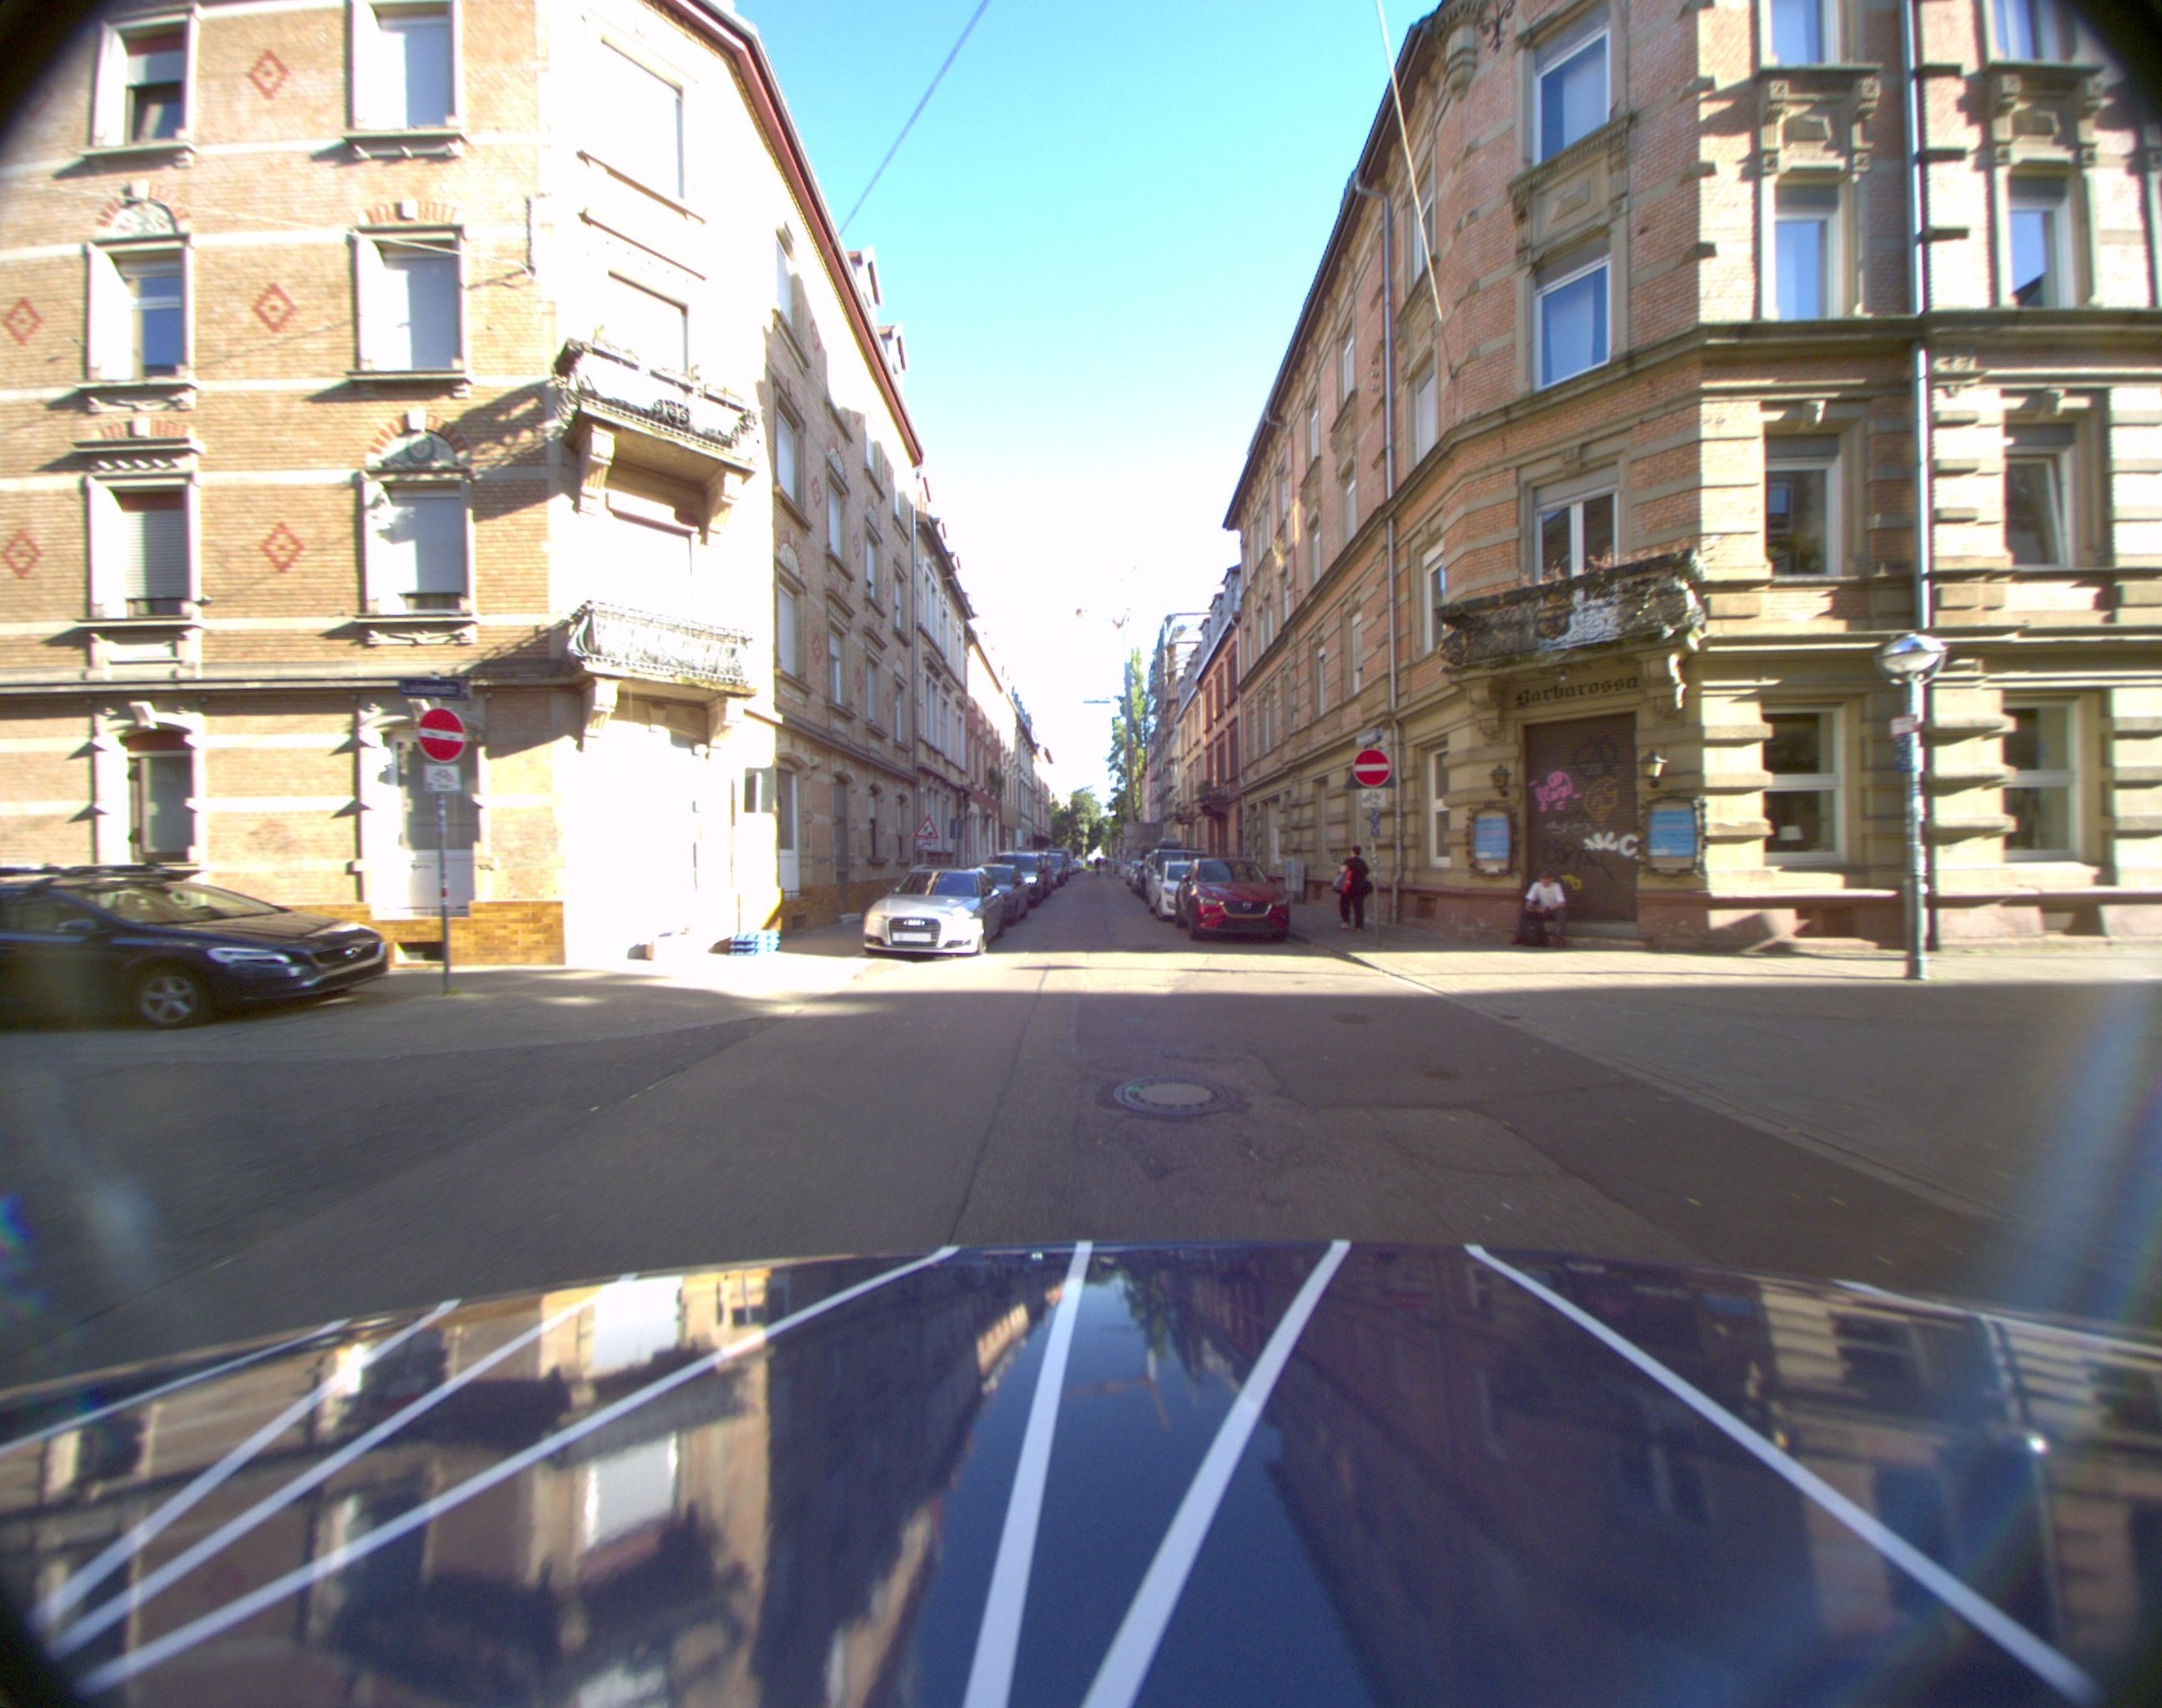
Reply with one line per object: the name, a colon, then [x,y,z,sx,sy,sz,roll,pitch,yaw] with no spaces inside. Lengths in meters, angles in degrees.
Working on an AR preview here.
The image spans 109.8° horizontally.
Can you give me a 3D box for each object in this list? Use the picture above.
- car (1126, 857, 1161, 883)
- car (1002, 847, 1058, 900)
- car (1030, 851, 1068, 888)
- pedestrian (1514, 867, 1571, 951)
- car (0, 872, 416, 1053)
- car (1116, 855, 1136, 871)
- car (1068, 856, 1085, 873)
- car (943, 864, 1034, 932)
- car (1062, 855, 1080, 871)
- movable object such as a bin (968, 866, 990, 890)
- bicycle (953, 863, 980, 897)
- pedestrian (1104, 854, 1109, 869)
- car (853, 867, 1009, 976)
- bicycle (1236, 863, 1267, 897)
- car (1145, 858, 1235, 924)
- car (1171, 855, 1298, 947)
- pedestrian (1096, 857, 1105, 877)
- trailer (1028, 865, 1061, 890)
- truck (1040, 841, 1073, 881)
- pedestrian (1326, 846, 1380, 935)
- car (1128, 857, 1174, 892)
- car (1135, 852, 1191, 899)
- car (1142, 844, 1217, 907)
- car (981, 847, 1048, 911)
car: [3.561,0.887,43.663,1.678,1.410,4.000,0,0,0]
car: [-2.092,0.772,32.348,1.836,2.002,4.742,-3,0,1]
car: [-1.823,0.858,44.725,1.849,1.972,4.576,-4,0,1]
pedestrian: [6.885,0.810,11.343,0.667,1.170,0.749,-2,1,31]
car: [-9.826,1.030,7.764,4.253,1.463,1.767,-1,4,-5]
car: [4.538,0.890,76.968,1.771,1.500,4.696,-1,0,1]
car: [-0.416,1.031,76.569,1.525,1.525,3.463,4,0,1]
car: [-2.233,1.033,19.223,1.670,1.470,3.888,-2,0,2]
car: [-1.064,0.945,82.750,1.603,1.652,4.060,-4,0,1]
movable object such as a bin: [-4.668,1.086,34.683,0.898,1.055,0.722,1,0,-1]
bicycle: [-4.629,1.041,30.821,0.728,1.296,1.692,1,0,2]
pedestrian: [2.965,0.842,87.274,0.594,1.634,0.813,0,0,1]
car: [-2.456,1.050,13.615,1.710,1.450,4.511,-3,0,1]
bicycle: [6.024,0.892,26.920,0.668,1.118,1.785,-4,0,2]
car: [2.688,0.867,19.486,1.678,1.412,3.874,-3,0,0]
car: [2.862,0.798,15.028,1.727,1.472,4.090,-3,0,1]
pedestrian: [1.754,1.167,68.280,0.740,1.743,0.997,-2,0,2]
trailer: [-1.878,1.228,40.032,1.508,1.106,3.039,-5,0,0]
truck: [-1.746,0.470,55.090,2.154,2.642,6.252,2,0,-1]
pedestrian: [5.058,0.662,14.157,0.668,1.571,0.760,-3,1,0]
car: [3.136,0.898,34.806,1.703,1.306,4.000,-5,0,1]
car: [3.126,0.781,29.790,1.792,1.615,4.608,-3,0,2]
car: [3.113,0.648,24.871,1.897,1.774,4.608,-3,0,2]
car: [-2.227,0.806,26.632,1.774,1.949,4.264,-3,0,1]
